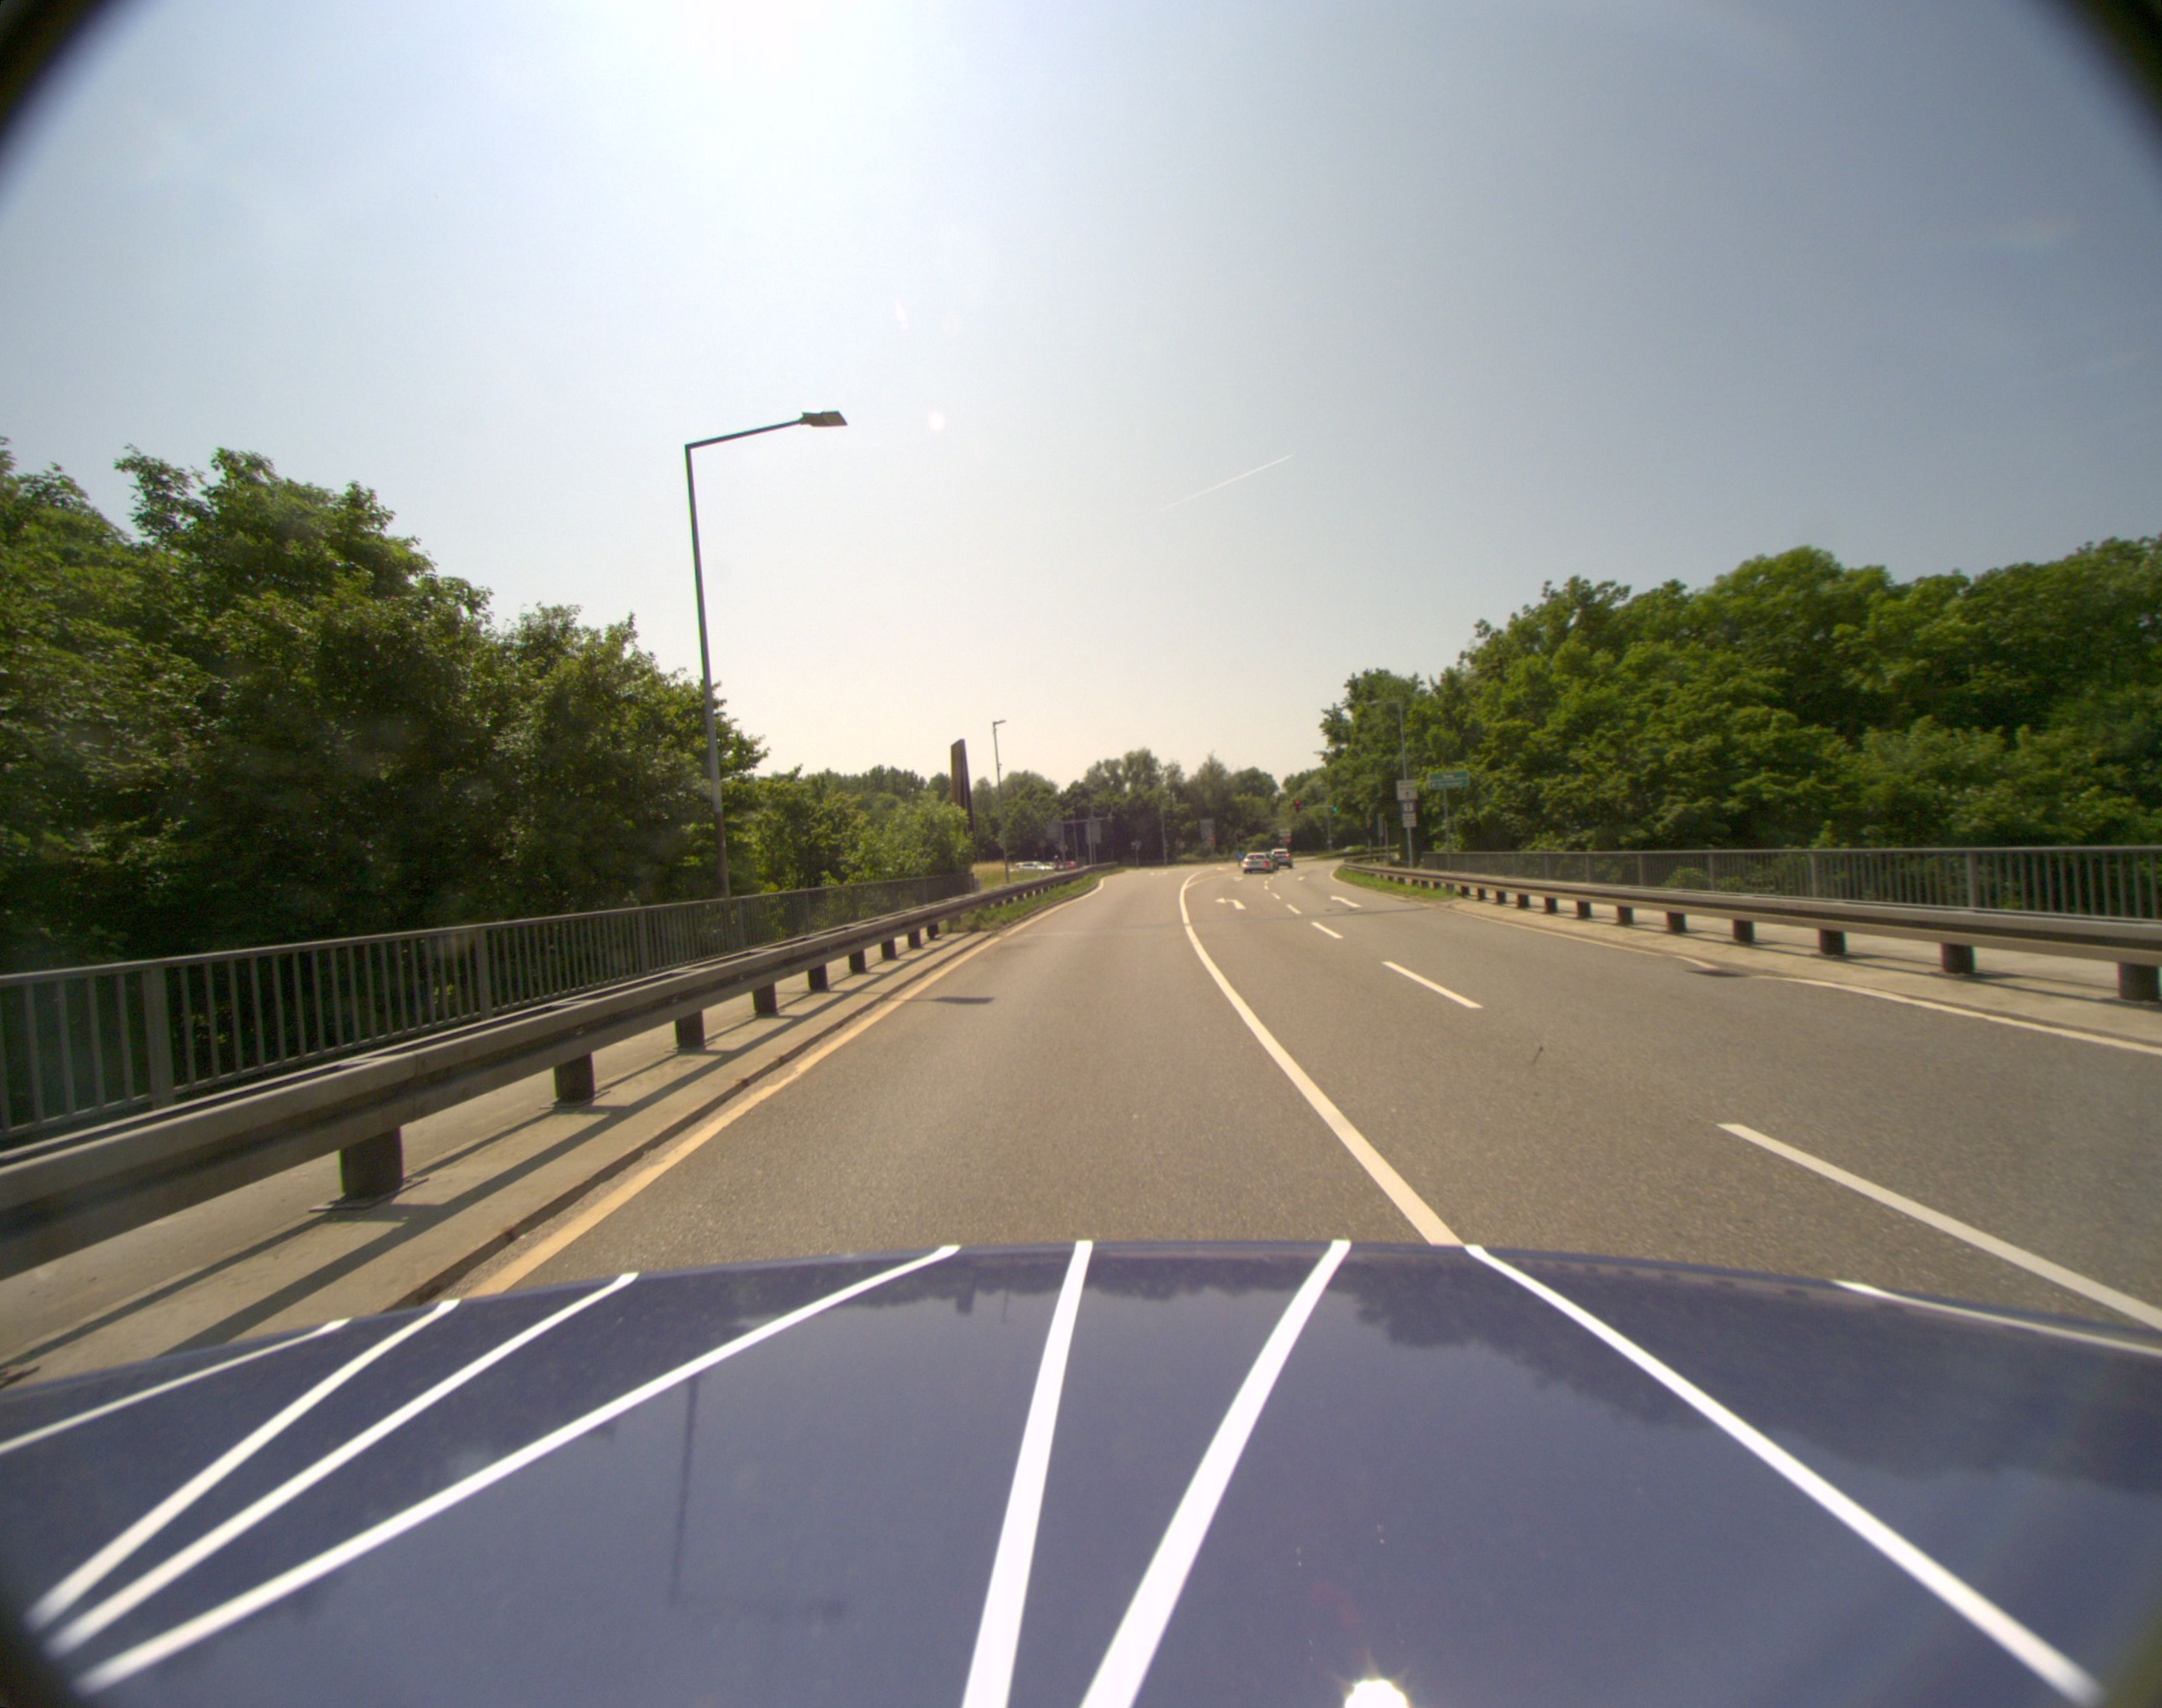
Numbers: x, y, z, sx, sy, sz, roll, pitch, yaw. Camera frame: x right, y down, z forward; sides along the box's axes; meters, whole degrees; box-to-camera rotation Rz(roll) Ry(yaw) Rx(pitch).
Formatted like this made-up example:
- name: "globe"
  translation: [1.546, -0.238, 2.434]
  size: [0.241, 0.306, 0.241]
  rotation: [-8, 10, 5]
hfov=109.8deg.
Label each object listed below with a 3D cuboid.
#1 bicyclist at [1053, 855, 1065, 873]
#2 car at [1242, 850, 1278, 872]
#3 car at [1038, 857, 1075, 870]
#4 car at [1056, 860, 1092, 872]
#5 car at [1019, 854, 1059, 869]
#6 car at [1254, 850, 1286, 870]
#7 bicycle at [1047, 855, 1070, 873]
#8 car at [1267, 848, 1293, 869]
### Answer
- name: "bicyclist"
  translation: [-2.025, 0.908, 70.102]
  size: [0.689, 1.590, 0.672]
  rotation: [-2, 1, 45]
- name: "car"
  translation: [12.500, 0.474, 52.955]
  size: [1.829, 1.398, 4.894]
  rotation: [-1, 1, 20]
- name: "car"
  translation: [-2.902, 1.133, 89.190]
  size: [4.175, 1.415, 1.871]
  rotation: [-3, 0, 41]
- name: "car"
  translation: [-0.902, 1.457, 91.789]
  size: [4.175, 1.346, 1.758]
  rotation: [-3, 0, 41]
- name: "car"
  translation: [-4.755, 0.874, 86.067]
  size: [4.285, 1.497, 1.871]
  rotation: [-3, 1, 41]
- name: "car"
  translation: [14.571, 0.442, 58.504]
  size: [1.830, 1.398, 4.552]
  rotation: [-2, 1, 20]
- name: "bicycle"
  translation: [-2.072, 0.952, 70.143]
  size: [0.658, 1.565, 2.368]
  rotation: [-4, 1, -45]
- name: "car"
  translation: [17.082, 0.334, 65.101]
  size: [1.830, 1.629, 4.584]
  rotation: [-1, 1, 19]
